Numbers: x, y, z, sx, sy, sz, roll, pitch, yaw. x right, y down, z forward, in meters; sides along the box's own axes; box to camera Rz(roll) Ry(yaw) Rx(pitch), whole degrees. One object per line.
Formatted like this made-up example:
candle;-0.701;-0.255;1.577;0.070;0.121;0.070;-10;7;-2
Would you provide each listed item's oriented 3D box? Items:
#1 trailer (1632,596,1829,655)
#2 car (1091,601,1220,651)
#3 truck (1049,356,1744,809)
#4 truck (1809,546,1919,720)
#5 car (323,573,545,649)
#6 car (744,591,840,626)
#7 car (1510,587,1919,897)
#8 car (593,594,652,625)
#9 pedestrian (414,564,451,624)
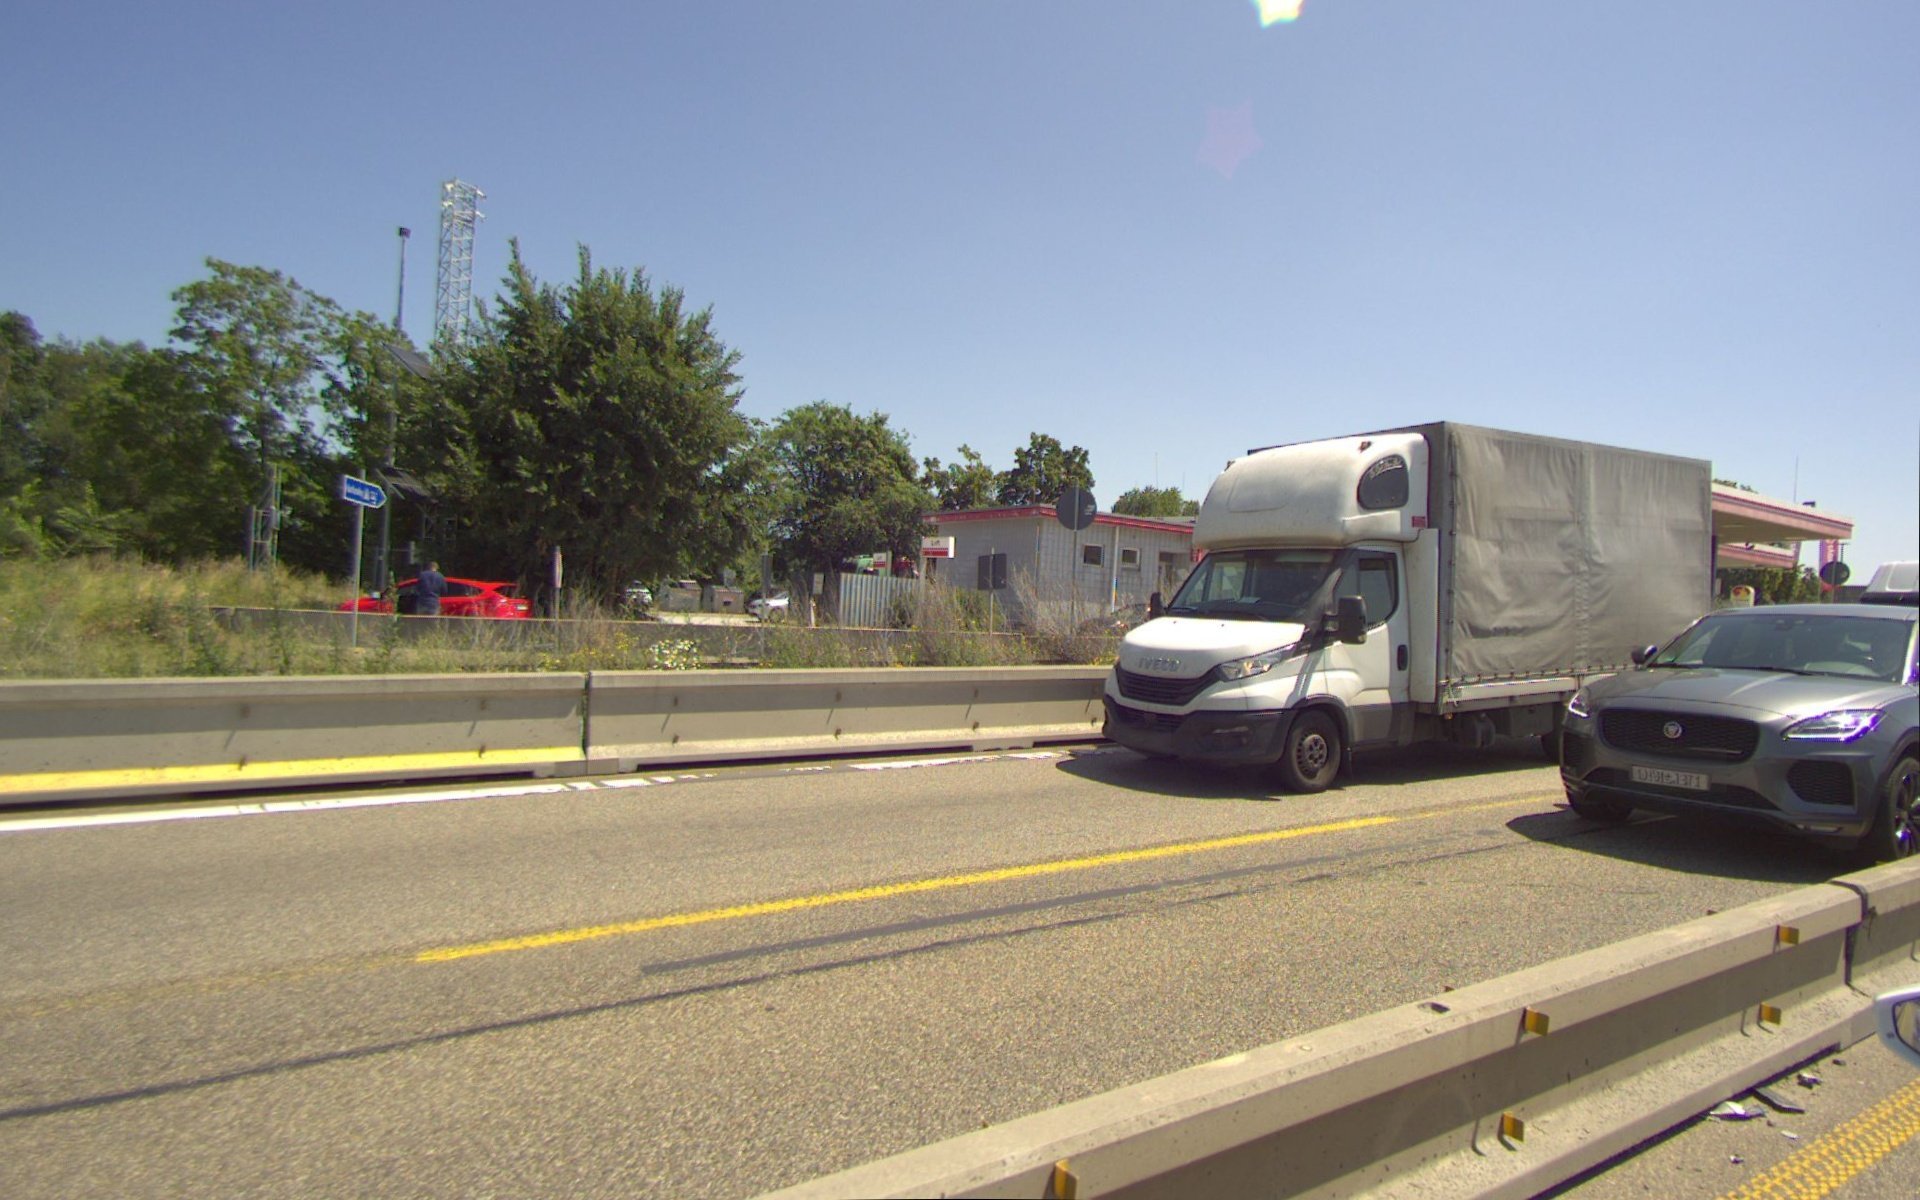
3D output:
trailer;62.237;2.077;81.312;13.891;4.166;3.159;2;0;-3
car;6.287;0.796;32.261;3.954;1.374;1.636;0;6;-31
truck;4.932;-0.042;10.536;8.024;3.336;2.482;1;0;-31
truck;18.143;0.604;18.271;6.420;2.823;2.227;1;1;-32
car;-11.629;0.220;22.360;4.104;1.350;1.503;3;3;0
car;-7.094;0.364;42.443;3.681;1.305;1.530;1;4;-28
car;6.419;0.821;7.499;4.690;1.680;1.932;1;0;-31
car;-18.299;0.511;54.389;1.980;1.484;3.960;1;1;-35
pedestrian;-11.012;-0.119;20.998;0.576;1.221;0.474;1;1;-16
